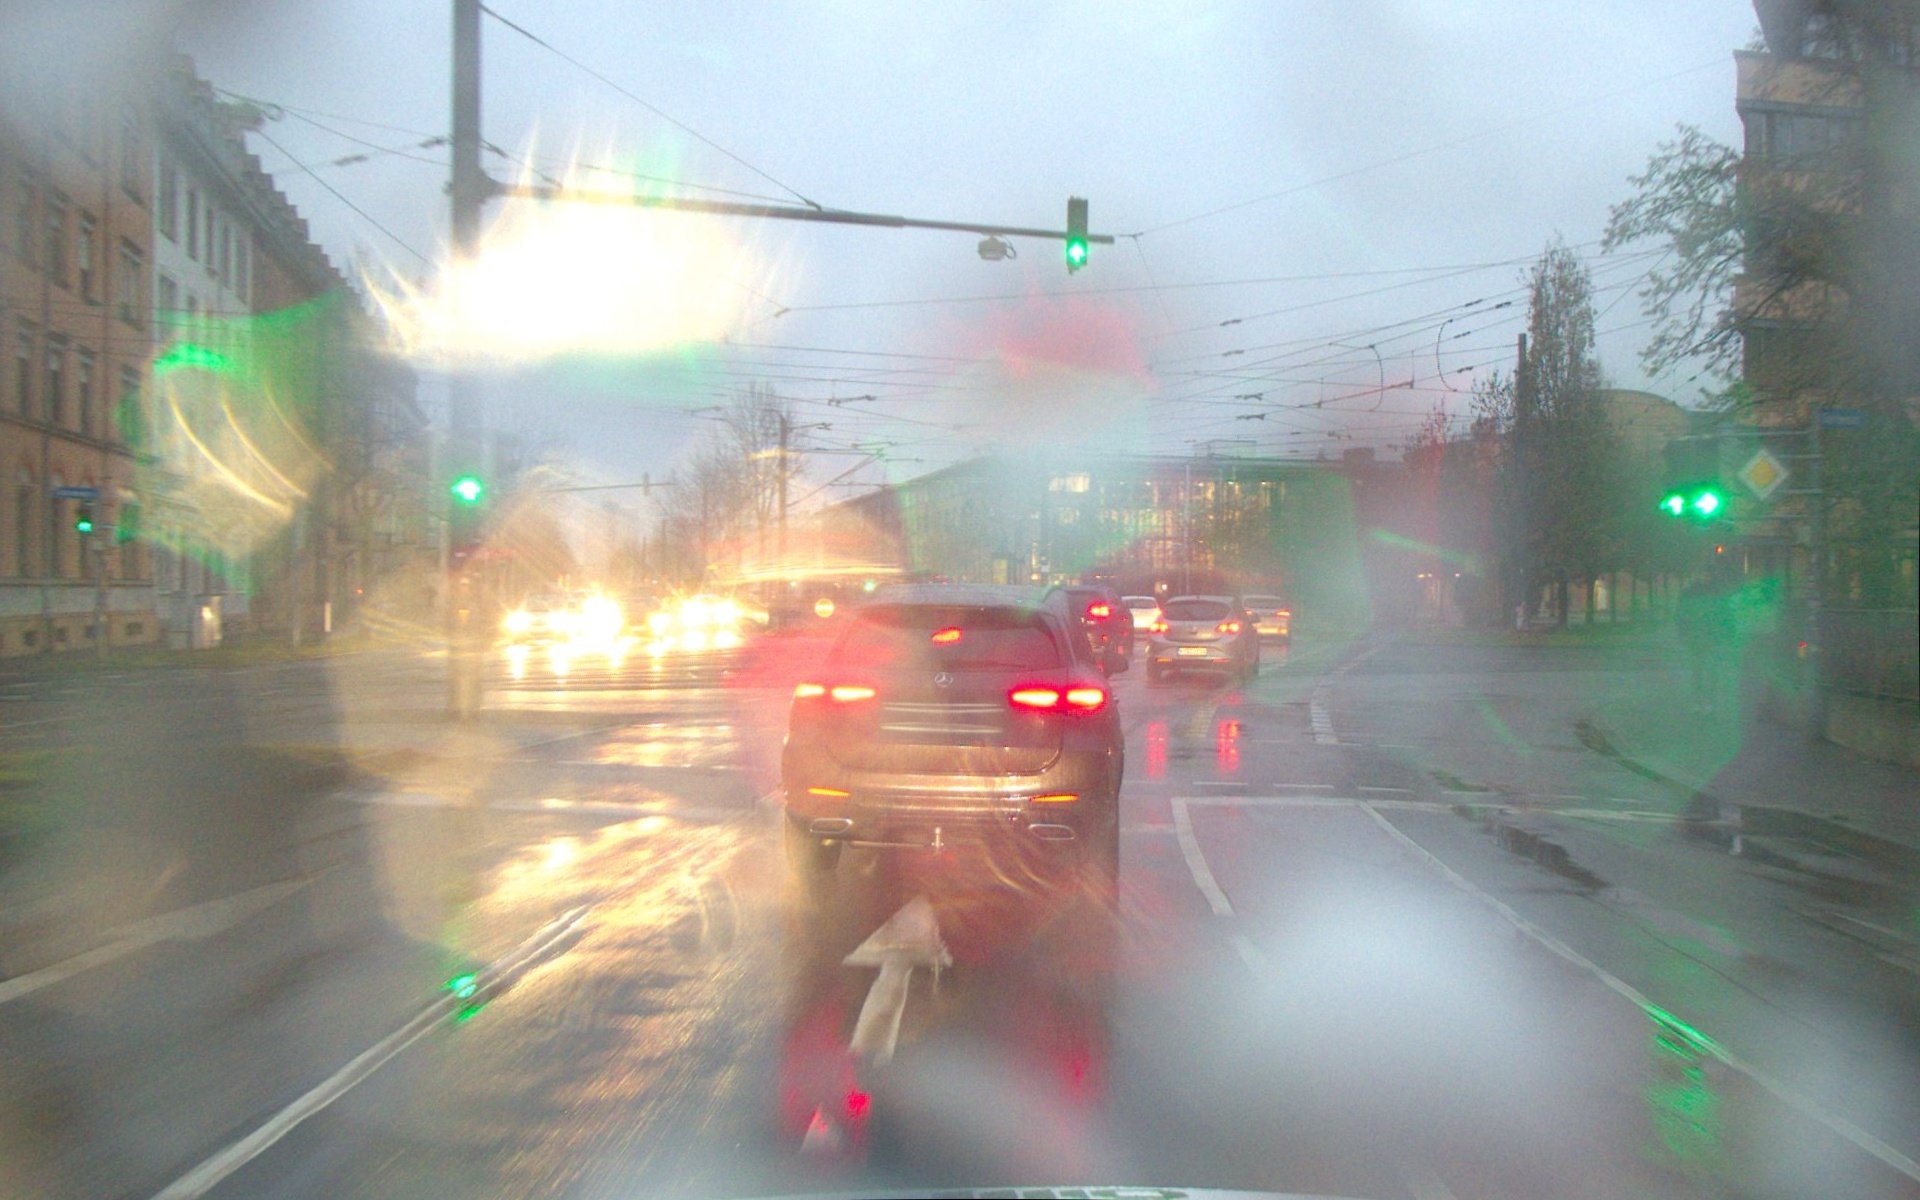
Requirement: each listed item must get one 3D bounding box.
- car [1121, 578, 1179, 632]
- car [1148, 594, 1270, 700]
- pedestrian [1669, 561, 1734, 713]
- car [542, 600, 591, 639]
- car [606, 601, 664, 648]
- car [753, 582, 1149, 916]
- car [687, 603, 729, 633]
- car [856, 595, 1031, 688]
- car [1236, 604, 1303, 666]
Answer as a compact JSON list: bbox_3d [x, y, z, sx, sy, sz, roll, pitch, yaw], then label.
[{"bbox_3d":[6.607,0.152,57.296,1.951,1.796,4.003,0,0,7],"label":"car"},{"bbox_3d":[4.648,0.792,30.415,1.951,1.796,4.003,0,0,12],"label":"car"},{"bbox_3d":[9.415,0.454,21.016,0.560,1.870,0.684,-3,1,13],"label":"pedestrian"},{"bbox_3d":[-14.607,0.705,61.480,1.650,1.416,3.603,0,0,-12],"label":"car"},{"bbox_3d":[-10.751,0.779,54.907,1.649,1.483,4.055,0,0,-8],"label":"car"},{"bbox_3d":[-0.038,0.725,10.159,1.950,1.644,4.000,0,0,0],"label":"car"},{"bbox_3d":[-11.071,0.775,72.512,1.510,1.267,4.072,0,0,-14],"label":"car"},{"bbox_3d":[-0.184,0.627,27.523,1.951,1.422,4.003,0,0,14],"label":"car"},{"bbox_3d":[9.495,1.048,50.924,1.951,1.796,4.004,0,0,10],"label":"car"}]
